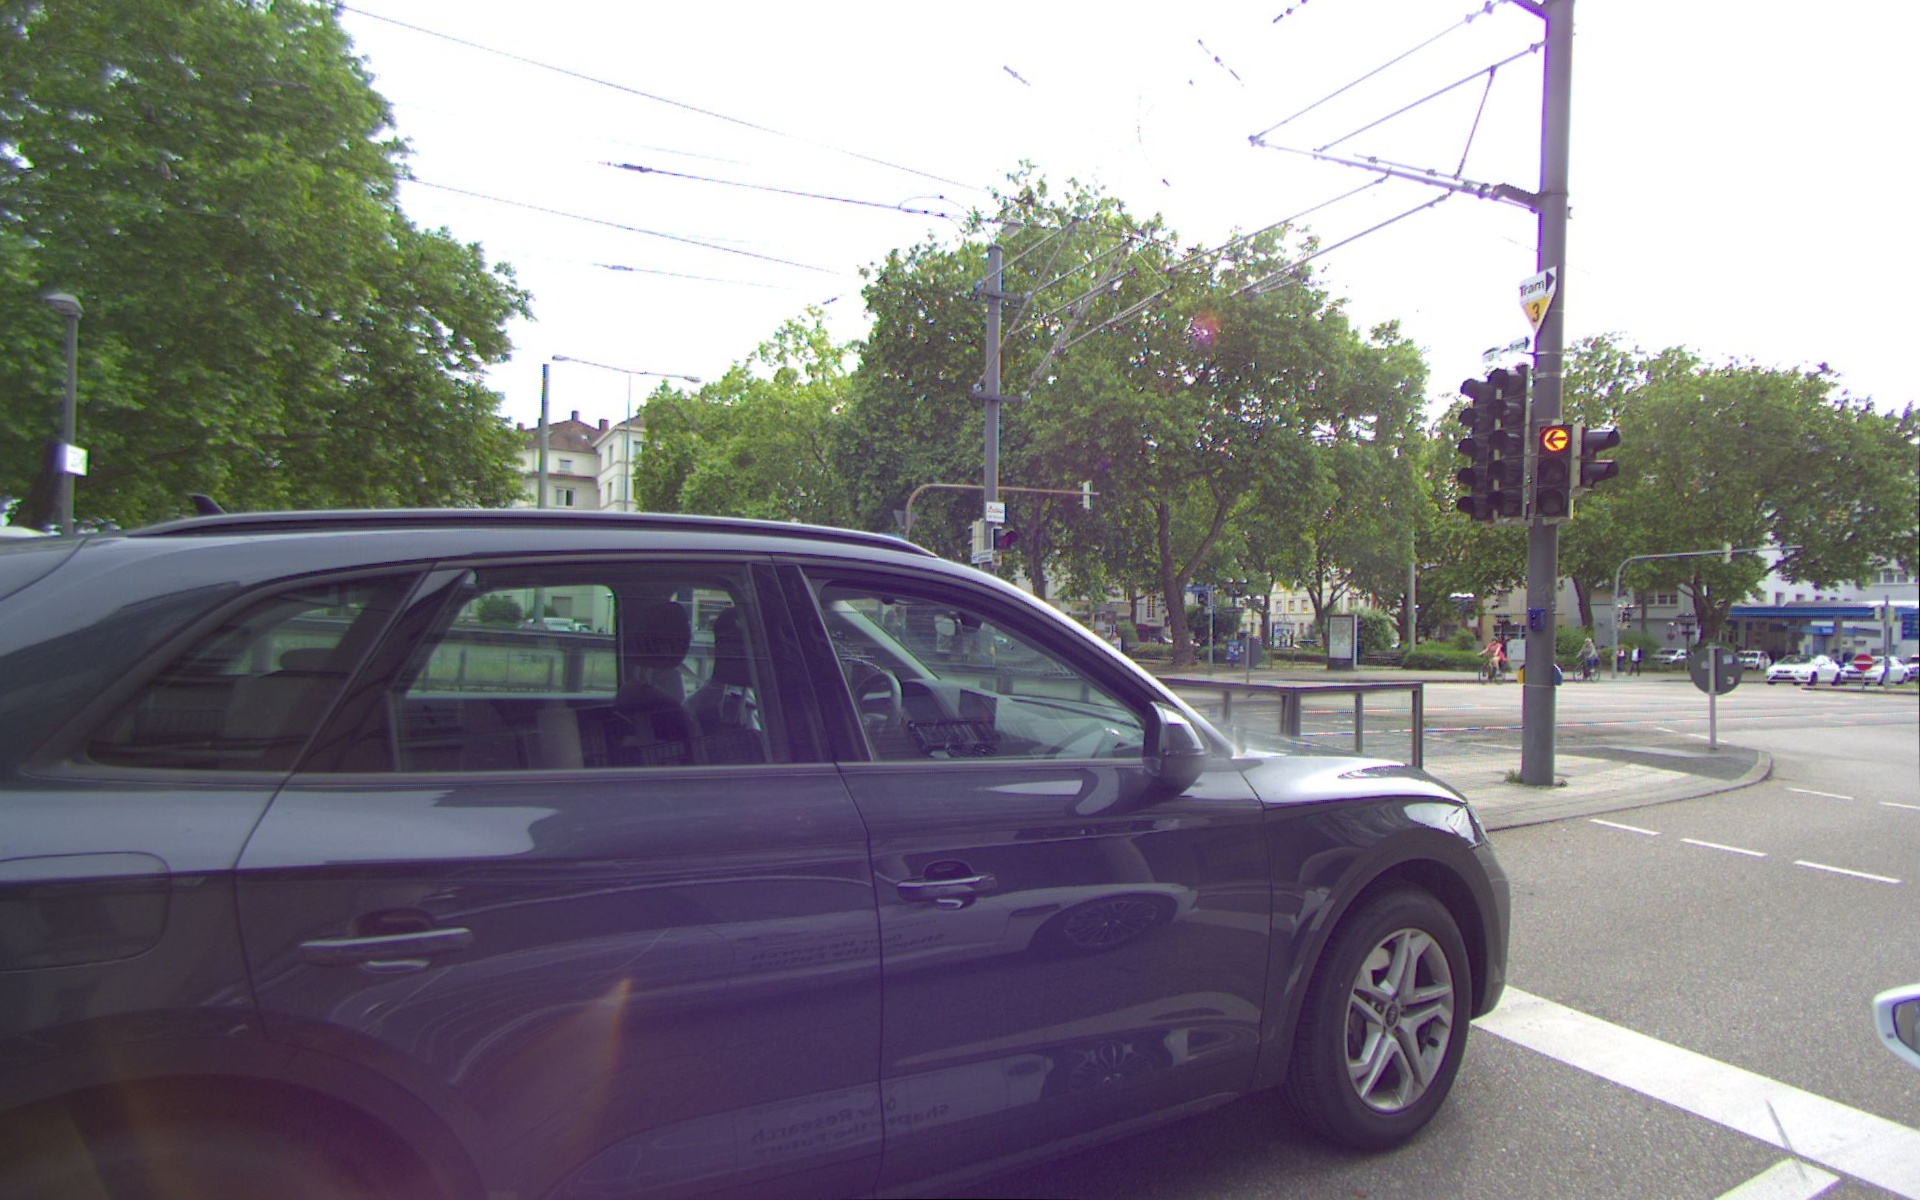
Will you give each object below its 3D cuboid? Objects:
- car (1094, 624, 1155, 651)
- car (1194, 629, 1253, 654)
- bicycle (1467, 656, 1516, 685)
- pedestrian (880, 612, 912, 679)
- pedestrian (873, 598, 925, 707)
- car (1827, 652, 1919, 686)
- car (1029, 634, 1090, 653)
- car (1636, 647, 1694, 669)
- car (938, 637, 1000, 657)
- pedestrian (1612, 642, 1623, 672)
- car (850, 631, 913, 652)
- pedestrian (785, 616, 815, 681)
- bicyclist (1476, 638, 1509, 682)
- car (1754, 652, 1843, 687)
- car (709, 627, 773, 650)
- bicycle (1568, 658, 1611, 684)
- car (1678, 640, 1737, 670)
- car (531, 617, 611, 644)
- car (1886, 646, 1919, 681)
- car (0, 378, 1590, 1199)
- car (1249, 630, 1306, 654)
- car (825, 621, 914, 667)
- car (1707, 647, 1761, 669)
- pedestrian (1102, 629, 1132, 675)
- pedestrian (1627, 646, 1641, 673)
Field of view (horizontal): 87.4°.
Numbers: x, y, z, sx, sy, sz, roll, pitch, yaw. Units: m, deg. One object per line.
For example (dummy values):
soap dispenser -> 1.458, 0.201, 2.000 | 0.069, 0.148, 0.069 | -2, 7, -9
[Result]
car -> 13.839, 3.154, 84.827 | 4.766, 2.129, 2.071 | 0, -2, 44
car -> 23.801, 3.706, 90.870 | 4.766, 2.129, 2.071 | 0, -2, 44
bicycle -> 20.283, 2.678, 38.316 | 1.970, 1.078, 0.723 | 3, -4, -31
pedestrian -> -1.863, 1.323, 29.221 | 0.680, 1.911, 0.684 | 2, 0, -28
pedestrian -> -1.031, 0.873, 16.902 | 0.619, 1.773, 0.651 | 2, 0, -28
car -> 46.205, 3.482, 50.793 | 5.636, 1.546, 1.832 | 2, 0, -30
car -> 8.227, 3.592, 83.121 | 4.766, 1.408, 2.071 | 0, -2, 44
car -> 51.320, 4.211, 73.111 | 3.953, 1.486, 1.984 | 2, -2, -30
car -> 0.672, 3.608, 77.971 | 4.766, 1.408, 2.071 | 0, -2, 44
pedestrian -> 33.848, 2.939, 51.734 | 0.370, 1.498, 0.358 | 2, -1, -36
car -> -5.825, 3.027, 73.980 | 4.766, 1.408, 1.988 | 0, -2, 44
pedestrian -> -4.149, 1.253, 26.037 | 0.517, 1.633, 0.523 | 2, 0, 28
bicyclist -> 20.329, 2.275, 38.367 | 0.983, 1.659, 0.702 | 2, -3, -31
car -> 39.418, 3.246, 47.201 | 4.362, 1.467, 1.833 | 2, 0, -30
car -> -15.013, 2.632, 68.739 | 4.766, 1.408, 1.988 | 0, -2, 44
bicycle -> 26.898, 3.043, 42.929 | 1.969, 1.078, 0.724 | 3, -4, -30
car -> 52.530, 3.847, 70.584 | 3.953, 2.040, 1.984 | 2, -2, -30
car -> -26.712, 2.102, 69.021 | 4.789, 1.685, 1.979 | 3, -2, -38
car -> 52.105, 3.439, 54.172 | 5.088, 1.807, 1.694 | 2, 0, -30
car -> -0.457, 0.605, 2.756 | 4.317, 1.669, 1.902 | 2, 0, -30
car -> 30.258, 4.011, 95.668 | 4.766, 2.129, 2.071 | 0, -2, 44
car -> -3.611, 1.764, 39.621 | 1.894, 1.741, 3.702 | 2, -4, -36
car -> 52.050, 3.913, 67.507 | 3.363, 1.376, 1.695 | 2, 0, -30
pedestrian -> 6.031, 1.987, 38.569 | 0.748, 1.712, 0.799 | 2, -1, -34
pedestrian -> 34.429, 3.033, 51.281 | 0.465, 1.343, 0.452 | 2, -1, -36
